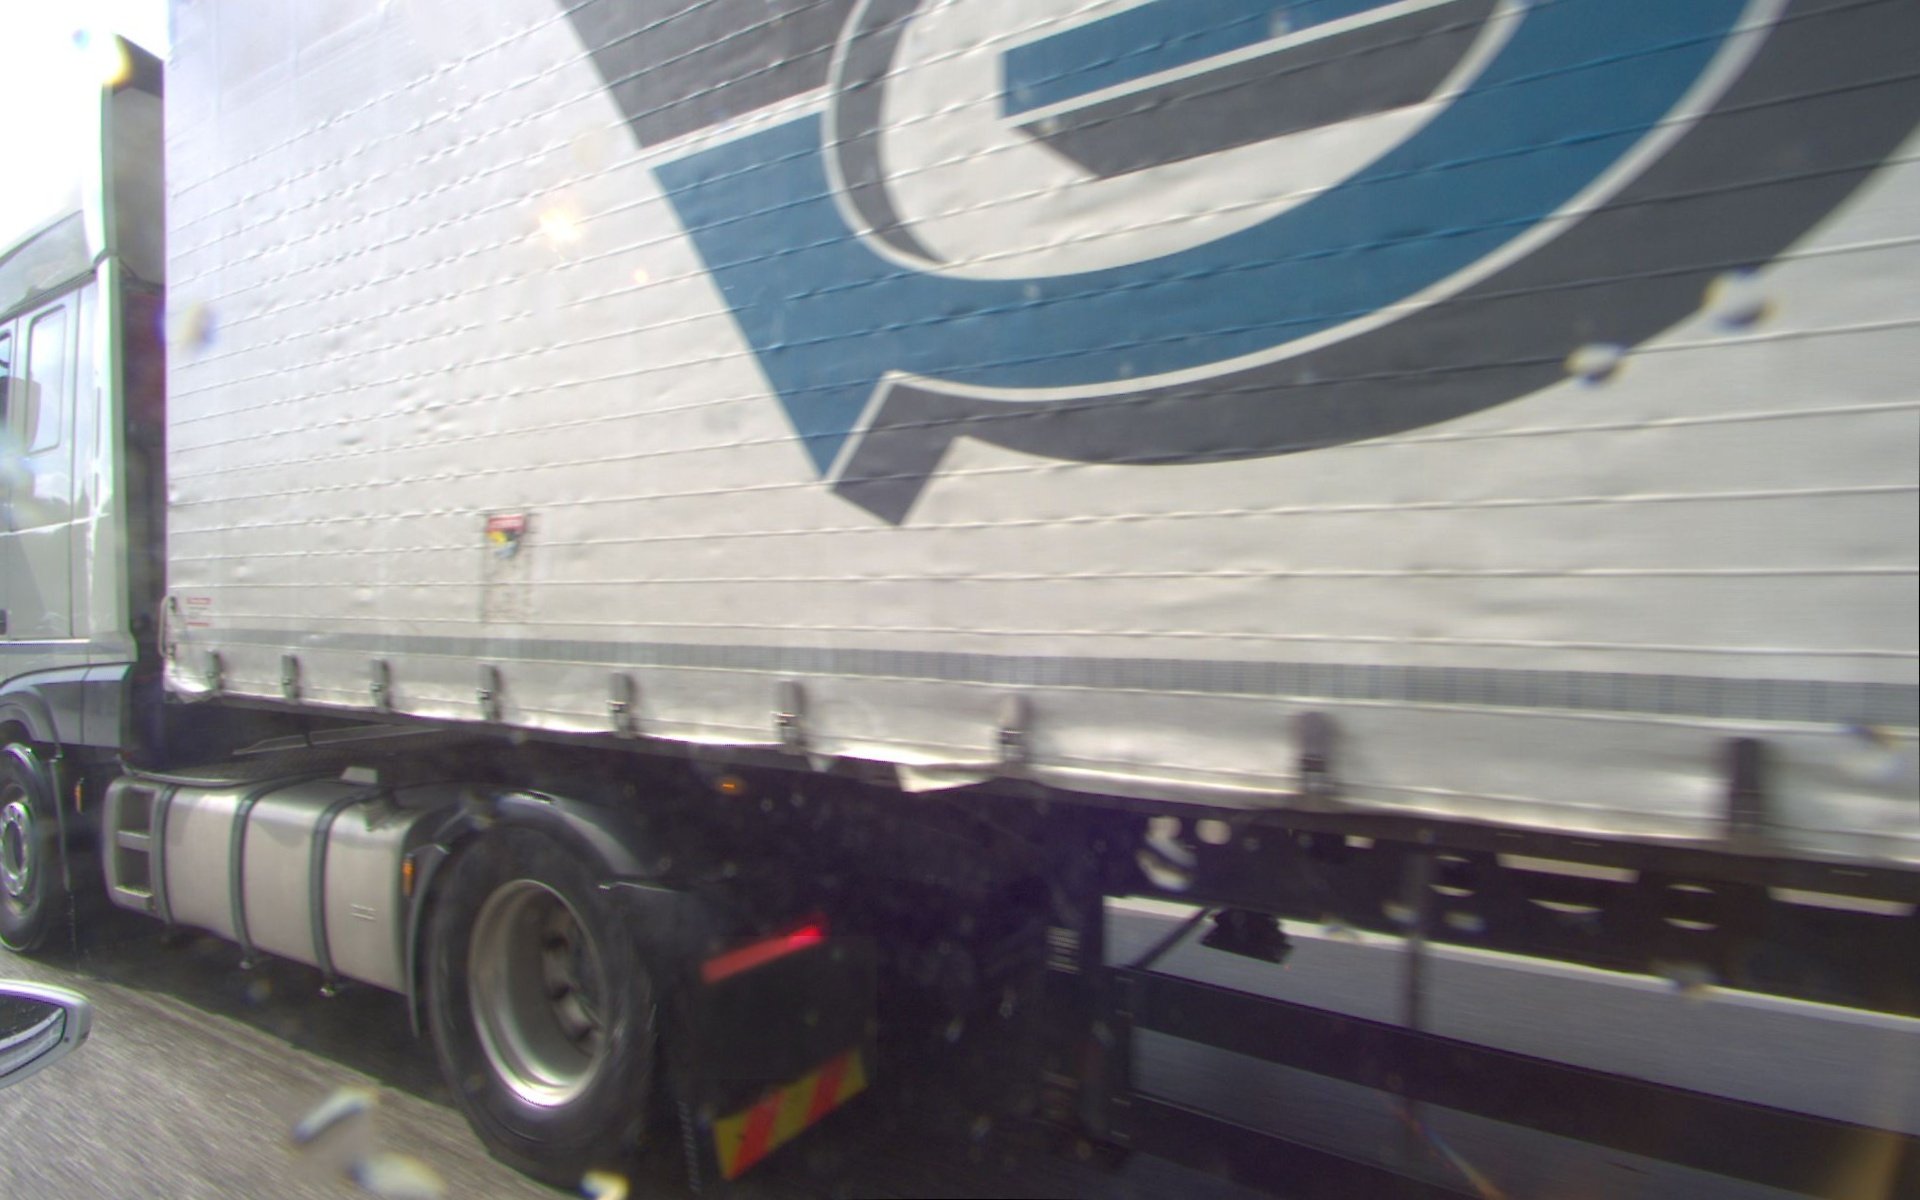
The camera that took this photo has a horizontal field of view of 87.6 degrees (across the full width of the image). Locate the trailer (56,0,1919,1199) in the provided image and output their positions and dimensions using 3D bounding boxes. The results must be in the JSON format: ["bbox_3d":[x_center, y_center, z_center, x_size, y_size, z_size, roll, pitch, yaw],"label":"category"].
[{"bbox_3d":[3.403,-0.491,1.579,13.921,3.948,3.279,-1,-2,31],"label":"trailer"}]

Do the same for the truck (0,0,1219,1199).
[{"bbox_3d":[-2.271,-0.389,5.060,6.302,3.940,3.280,-1,-2,31],"label":"truck"}]
